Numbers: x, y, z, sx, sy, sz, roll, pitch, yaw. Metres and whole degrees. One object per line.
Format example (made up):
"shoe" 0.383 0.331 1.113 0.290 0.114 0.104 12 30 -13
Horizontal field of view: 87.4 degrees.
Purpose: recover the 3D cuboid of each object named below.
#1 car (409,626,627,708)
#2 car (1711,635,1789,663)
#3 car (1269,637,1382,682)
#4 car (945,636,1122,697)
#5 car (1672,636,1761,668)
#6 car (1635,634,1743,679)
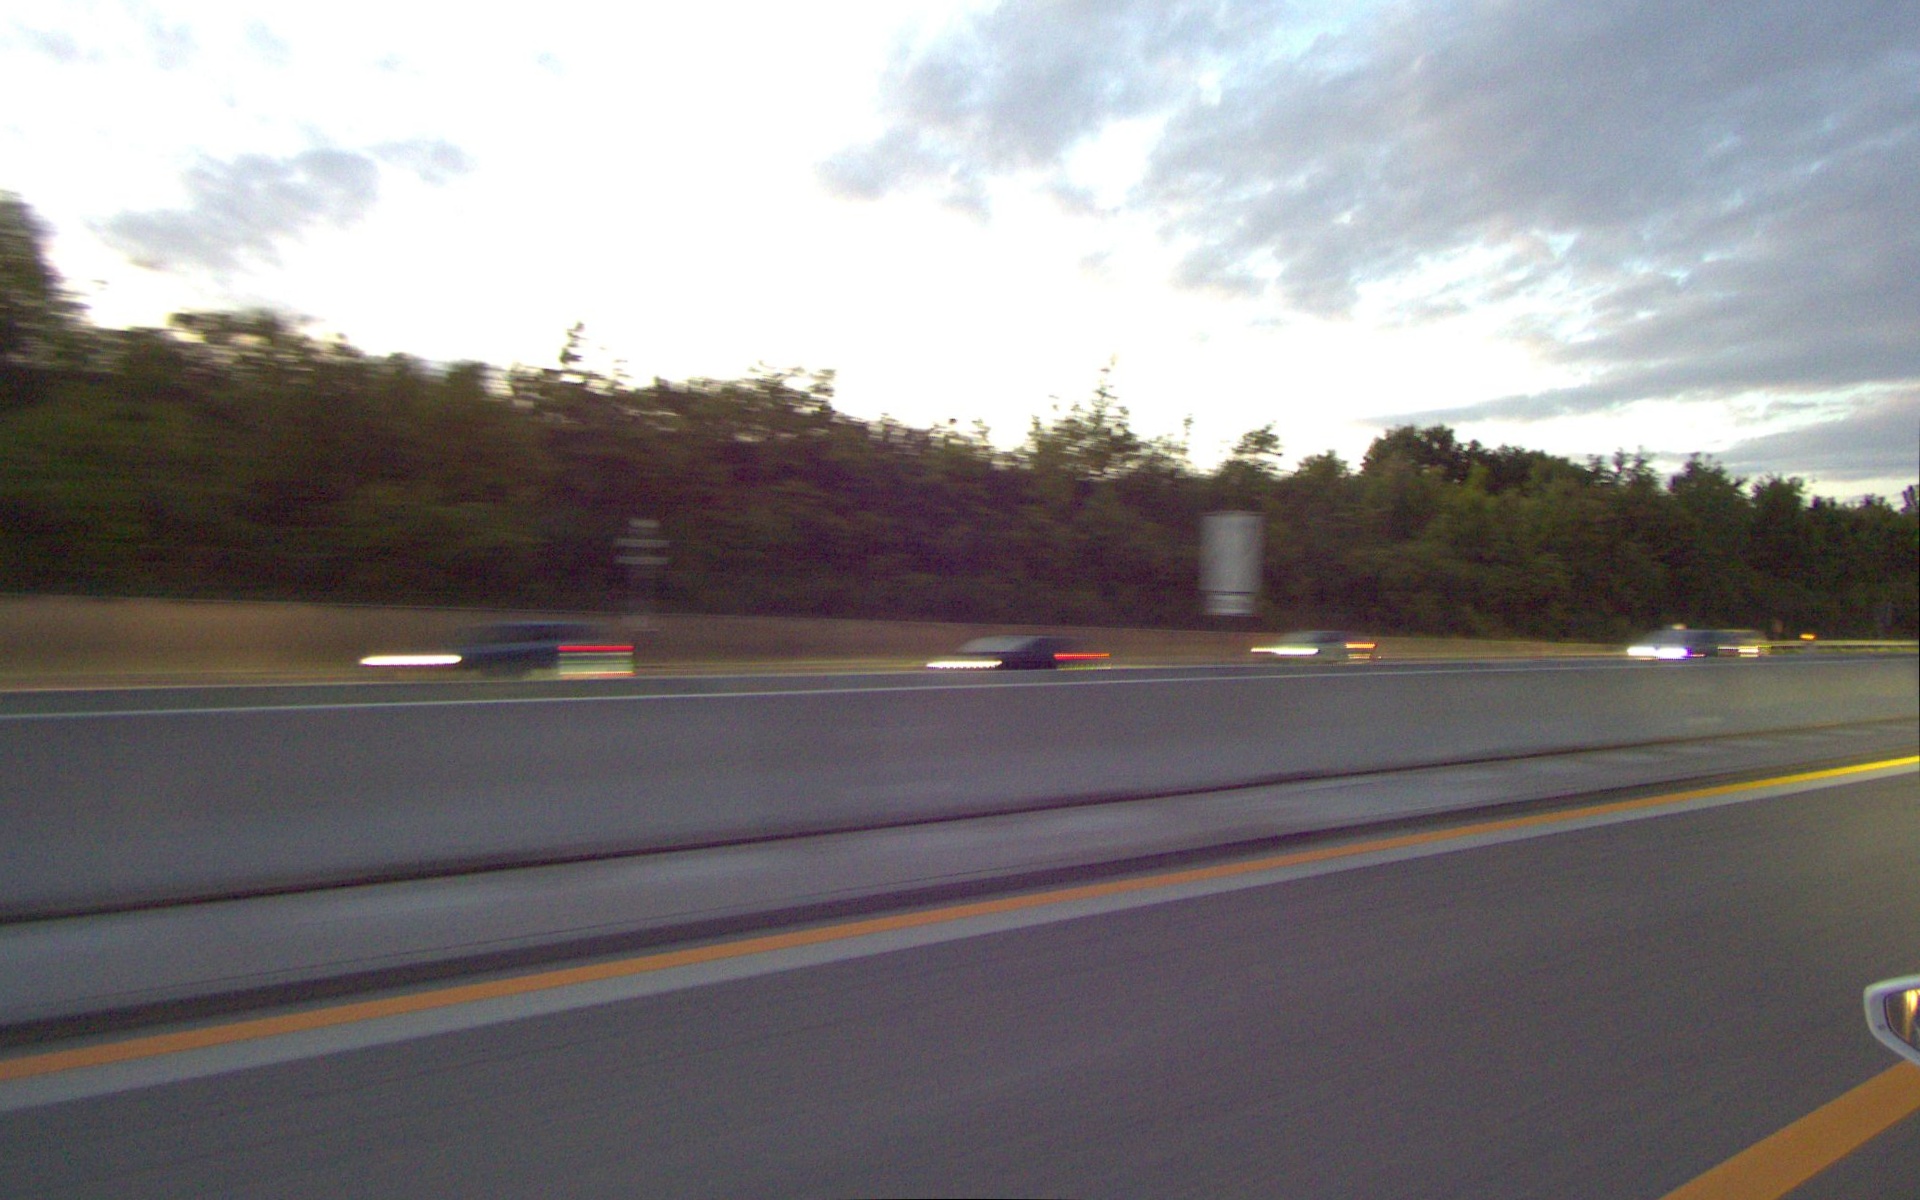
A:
"car" -10.577 1.566 24.129 4.616 1.745 1.742 2 0 -30
"car" 45.509 2.819 57.817 4.643 1.505 1.818 2 0 -28
"car" 13.743 2.201 37.705 4.127 1.527 1.657 2 0 -29
"car" 2.038 1.779 27.532 4.613 1.474 1.743 2 0 -29
"car" 38.273 2.621 50.787 4.643 1.505 1.803 2 0 -28
"car" 31.440 2.421 43.315 4.748 1.761 1.893 2 0 -28
